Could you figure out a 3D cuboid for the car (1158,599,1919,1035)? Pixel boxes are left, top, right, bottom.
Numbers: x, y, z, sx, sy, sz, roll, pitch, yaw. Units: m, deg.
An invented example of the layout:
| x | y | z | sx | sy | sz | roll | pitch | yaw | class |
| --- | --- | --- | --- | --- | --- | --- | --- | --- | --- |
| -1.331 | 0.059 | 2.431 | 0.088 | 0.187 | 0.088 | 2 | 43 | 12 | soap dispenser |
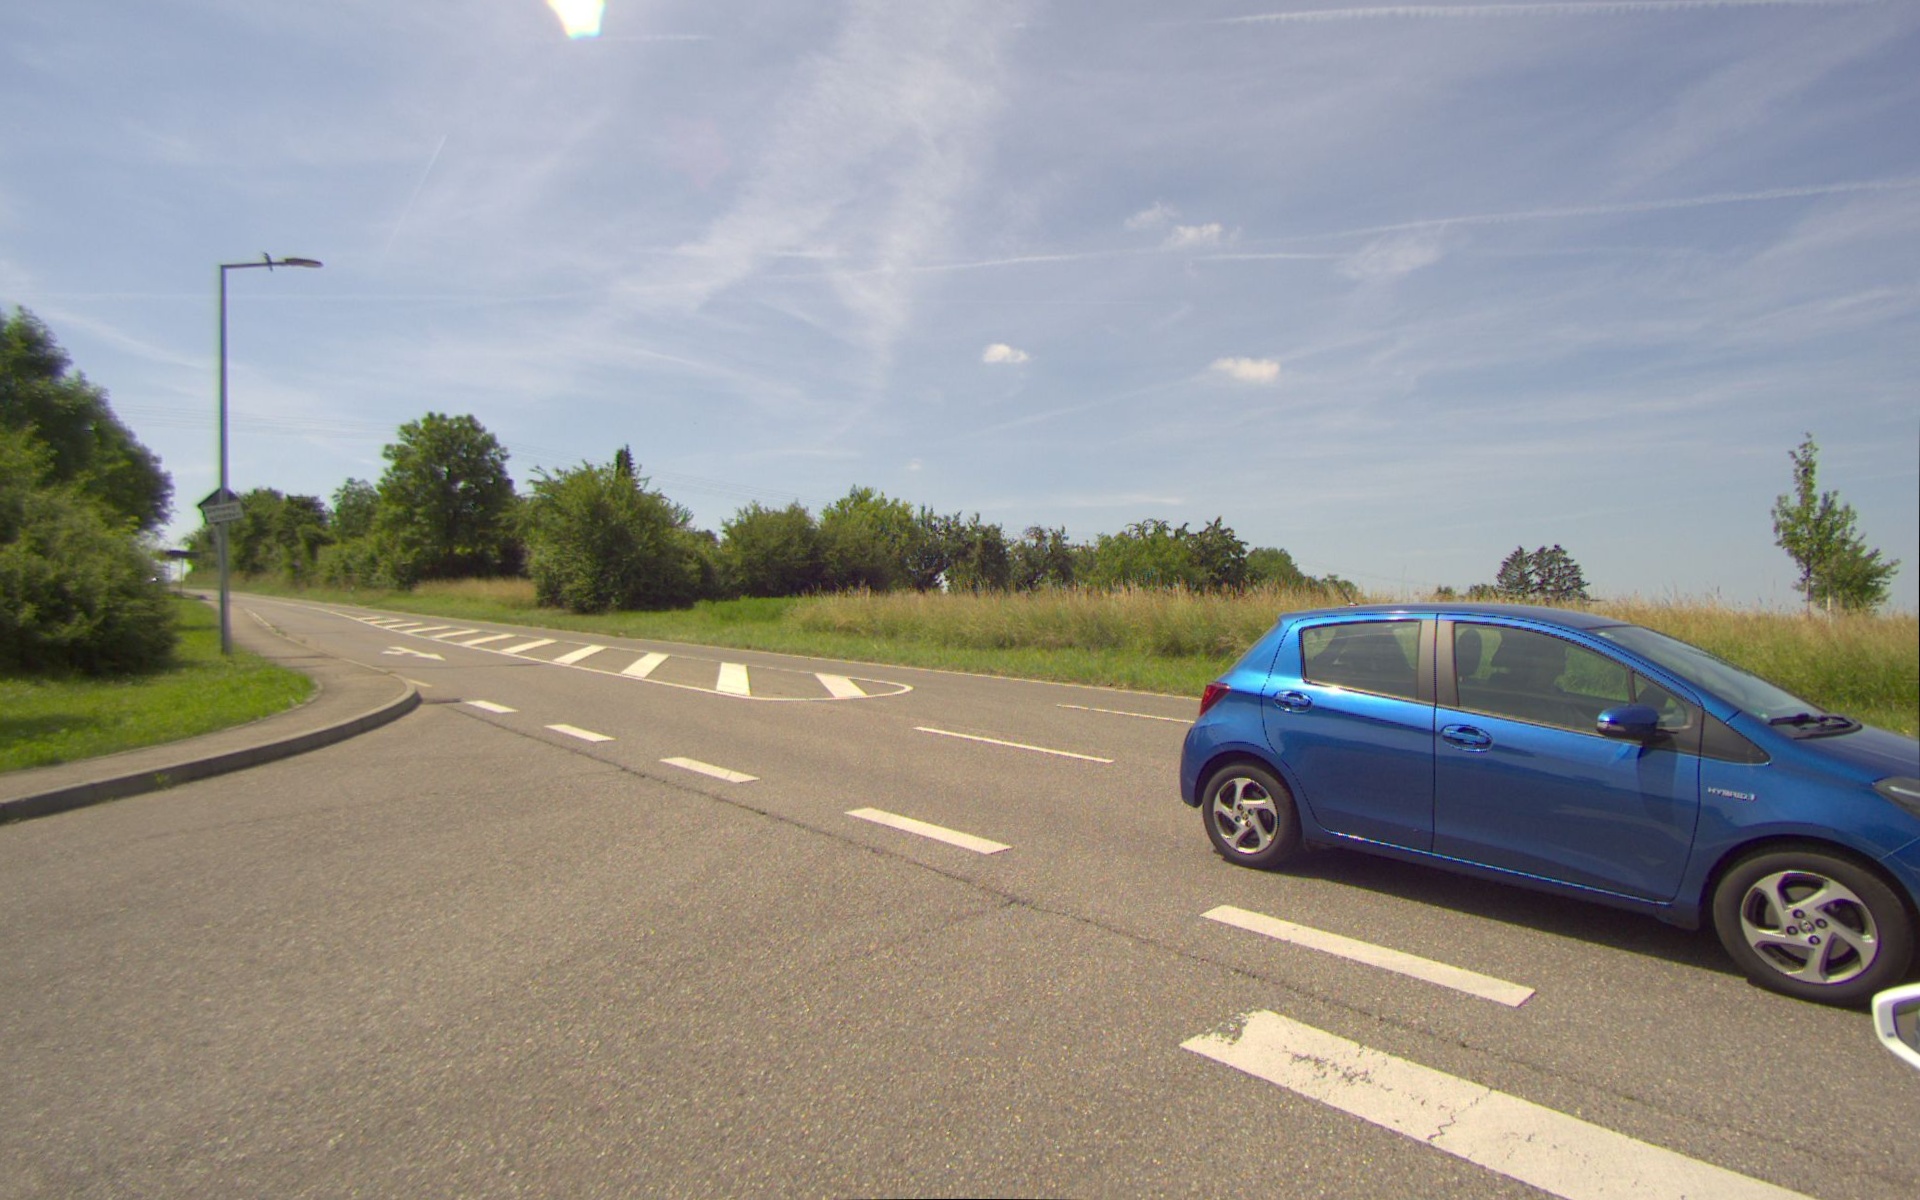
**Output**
| x | y | z | sx | sy | sz | roll | pitch | yaw | class |
| --- | --- | --- | --- | --- | --- | --- | --- | --- | --- |
| 3.060 | 0.785 | 5.168 | 1.602 | 1.512 | 3.800 | 1 | 0 | -43 | car |
